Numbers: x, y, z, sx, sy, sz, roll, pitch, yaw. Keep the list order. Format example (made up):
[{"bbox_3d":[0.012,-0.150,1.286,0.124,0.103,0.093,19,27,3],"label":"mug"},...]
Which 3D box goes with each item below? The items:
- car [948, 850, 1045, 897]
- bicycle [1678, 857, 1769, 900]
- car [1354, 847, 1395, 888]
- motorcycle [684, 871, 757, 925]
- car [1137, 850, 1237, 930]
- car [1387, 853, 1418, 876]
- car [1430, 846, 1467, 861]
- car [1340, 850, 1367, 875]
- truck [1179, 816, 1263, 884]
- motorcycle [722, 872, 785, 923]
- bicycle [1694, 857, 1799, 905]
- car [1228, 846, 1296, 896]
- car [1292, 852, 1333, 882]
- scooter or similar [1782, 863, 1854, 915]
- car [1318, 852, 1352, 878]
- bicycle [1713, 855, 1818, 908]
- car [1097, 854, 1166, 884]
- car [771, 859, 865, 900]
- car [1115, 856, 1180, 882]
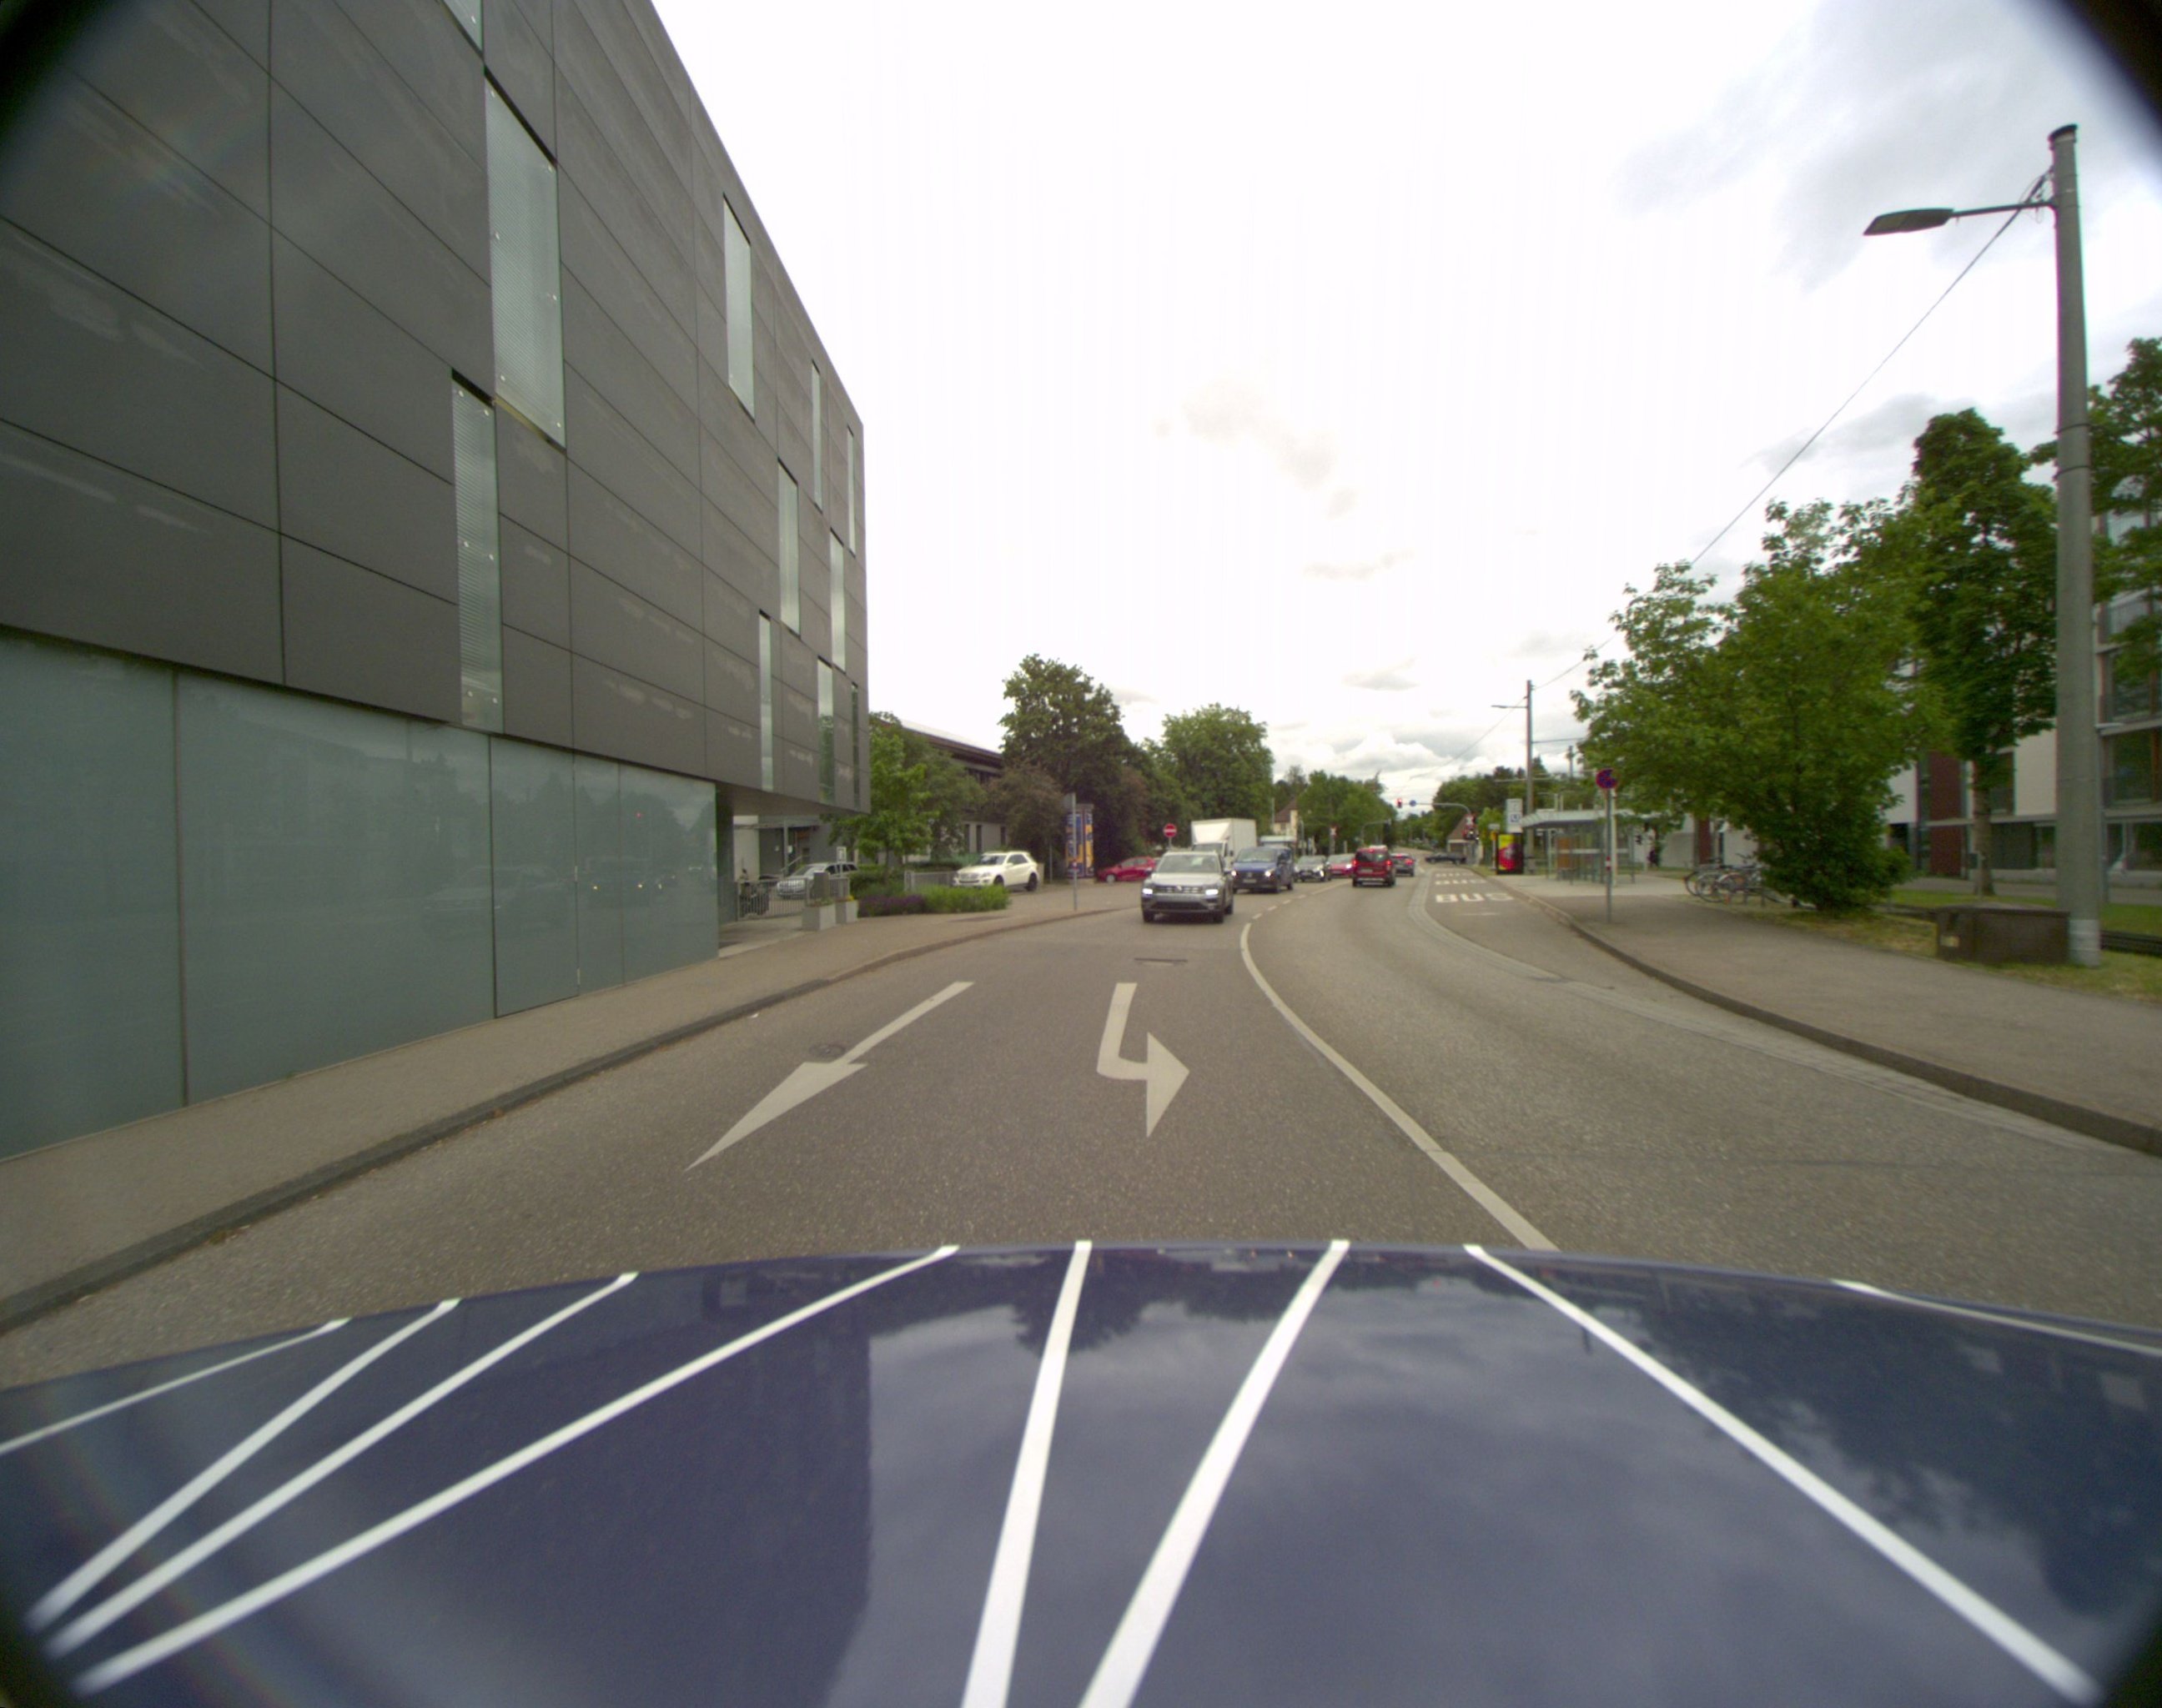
[{"bbox_3d":[-3.466,0.770,32.129,1.853,1.747,4.730,-1,0,25],"label":"car"},{"bbox_3d":[16.428,0.638,19.470,1.688,1.019,0.397,-3,0,27],"label":"bicycle"},{"bbox_3d":[13.753,0.581,35.724,1.682,1.798,4.358,0,1,20],"label":"car"},{"bbox_3d":[-10.455,1.237,22.155,0.669,1.385,2.464,-2,0,7],"label":"motorcycle"},{"bbox_3d":[2.670,0.770,18.303,1.809,1.637,4.335,-2,0,15],"label":"car"},{"bbox_3d":[21.567,0.662,50.883,1.769,1.470,4.006,0,1,24],"label":"car"},{"bbox_3d":[45.300,-0.041,93.804,3.991,1.696,1.931,-2,1,22],"label":"car"},{"bbox_3d":[21.686,0.637,60.418,1.847,1.850,4.264,-1,0,21],"label":"car"},{"bbox_3d":[7.932,-0.275,42.210,2.537,3.406,7.788,-1,1,26],"label":"truck"},{"bbox_3d":[-9.436,1.225,22.012,0.669,1.385,2.126,-2,-1,7],"label":"motorcycle"},{"bbox_3d":[15.327,0.634,17.540,1.750,1.040,0.409,-3,0,27],"label":"bicycle"},{"bbox_3d":[7.390,0.631,30.695,1.846,1.850,4.006,-1,1,25],"label":"car"},{"bbox_3d":[12.800,0.694,41.865,1.847,1.525,4.006,-1,0,21],"label":"car"},{"bbox_3d":[14.979,0.696,15.471,0.788,1.004,0.774,-2,1,18],"label":"scooter or similar"},{"bbox_3d":[16.042,0.659,47.940,1.847,1.525,4.006,-1,0,21],"label":"car"},{"bbox_3d":[15.142,0.610,16.839,1.707,1.082,0.408,-3,0,13],"label":"bicycle"},{"bbox_3d":[2.960,0.892,45.272,3.895,1.475,1.683,-4,1,0],"label":"car"},{"bbox_3d":[-11.405,1.062,33.296,1.617,1.475,4.222,-1,2,18],"label":"car"},{"bbox_3d":[4.355,0.972,50.084,3.999,1.402,1.523,-4,1,-7],"label":"car"}]
